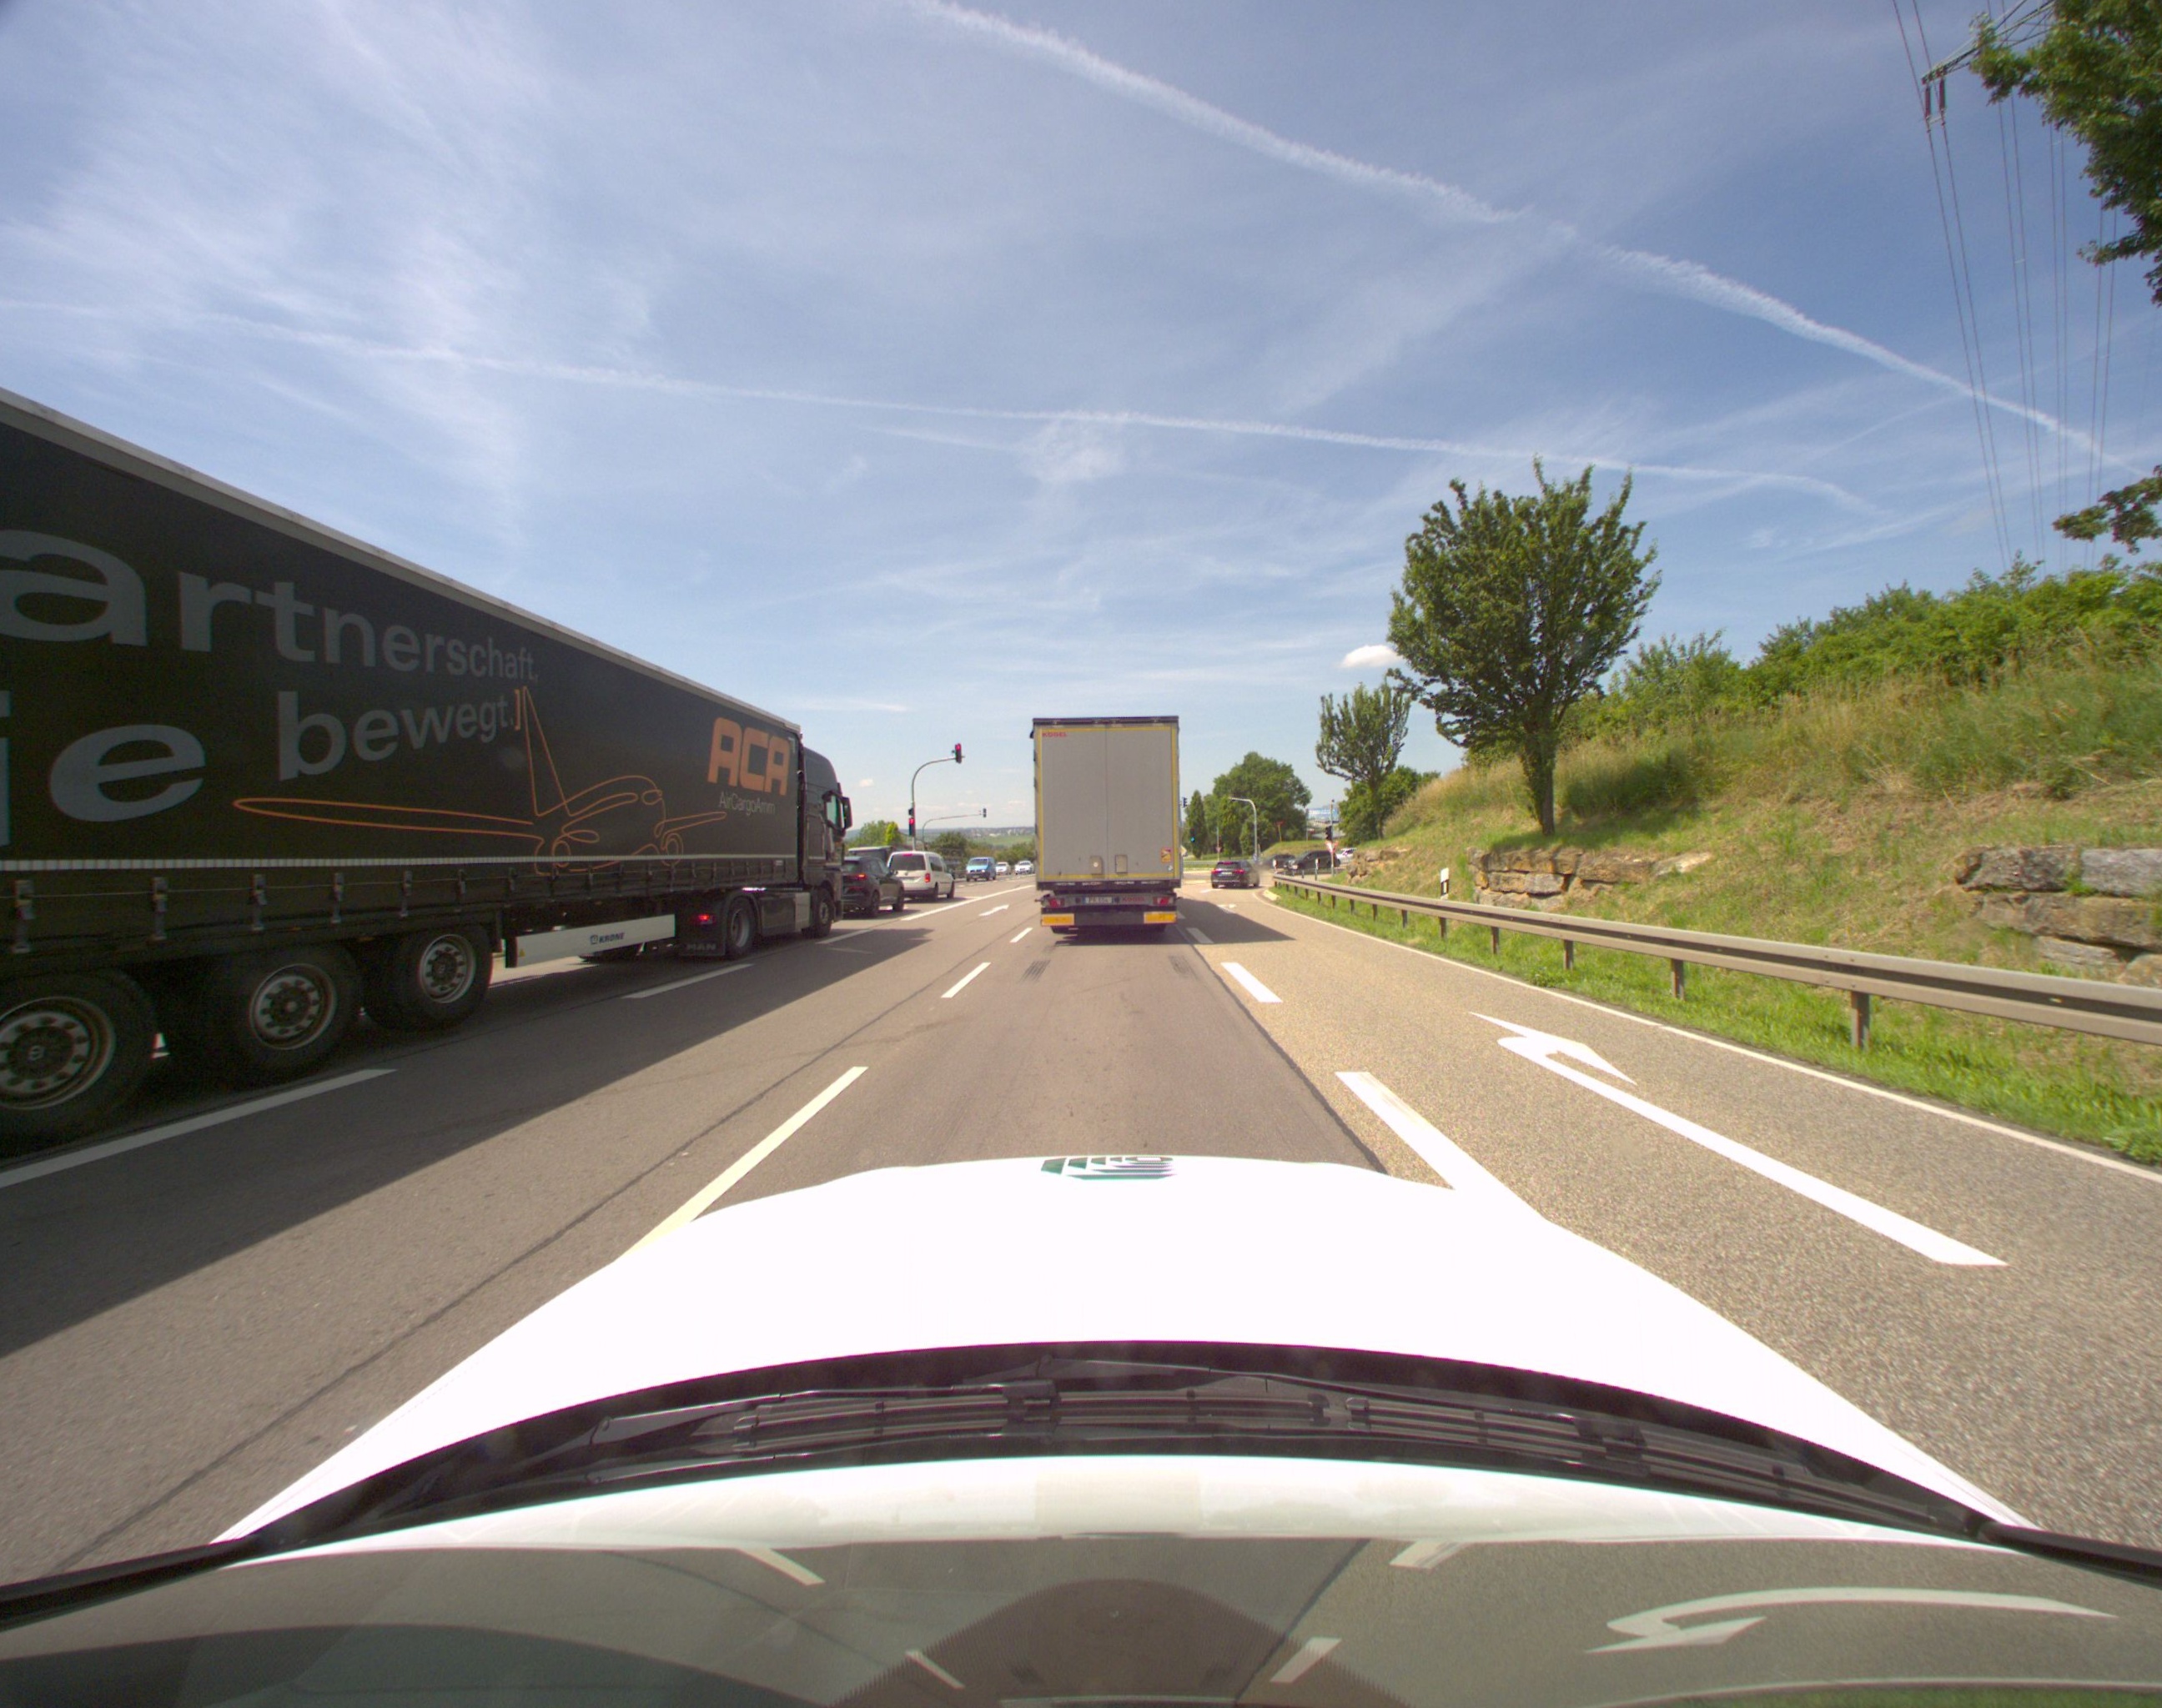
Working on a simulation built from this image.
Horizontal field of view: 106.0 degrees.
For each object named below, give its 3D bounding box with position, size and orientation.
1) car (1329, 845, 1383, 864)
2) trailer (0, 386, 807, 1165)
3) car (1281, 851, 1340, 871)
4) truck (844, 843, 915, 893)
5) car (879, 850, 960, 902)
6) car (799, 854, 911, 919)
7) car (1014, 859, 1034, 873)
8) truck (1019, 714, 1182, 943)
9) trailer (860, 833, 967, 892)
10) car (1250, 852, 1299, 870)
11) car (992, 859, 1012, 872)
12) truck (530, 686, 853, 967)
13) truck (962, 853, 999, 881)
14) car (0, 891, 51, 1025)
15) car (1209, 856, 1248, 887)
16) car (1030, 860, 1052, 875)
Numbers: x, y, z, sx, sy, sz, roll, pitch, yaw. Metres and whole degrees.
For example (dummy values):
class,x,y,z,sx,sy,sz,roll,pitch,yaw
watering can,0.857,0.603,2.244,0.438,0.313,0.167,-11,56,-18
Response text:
class,x,y,z,sx,sy,sz,roll,pitch,yaw
car,25.206,0.056,74.788,4.353,1.592,1.776,-1,-1,-7
trailer,-6.670,-0.357,8.109,2.772,3.913,13.792,-1,0,2
car,18.837,0.559,66.942,4.357,1.510,1.711,-1,-1,-9
truck,-13.125,0.931,53.584,2.787,3.014,5.994,-2,-1,3
car,-6.024,0.773,30.913,1.759,1.798,4.757,-1,0,4
car,-6.238,0.836,23.051,1.849,1.657,4.349,-1,0,1
car,-6.436,1.388,92.264,1.765,1.434,4.003,-2,-1,3
truck,0.488,-0.392,19.748,2.789,3.930,11.344,0,-1,1
trailer,-12.376,0.710,63.296,2.627,3.763,19.822,-2,-1,5
car,17.377,0.640,73.188,3.982,1.510,1.712,-1,-1,-7
car,-9.305,1.358,96.233,1.636,1.497,3.806,-3,-1,5
truck,-6.437,-0.378,14.680,2.772,4.013,5.973,-1,-1,2
truck,-8.312,1.064,67.757,1.956,2.157,4.631,-2,-1,6
car,-12.682,1.179,7.129,1.730,1.443,4.324,-4,-1,0
car,7.589,0.884,41.731,1.734,1.532,4.313,-1,-1,13
car,-4.140,1.404,85.130,1.747,1.469,4.200,2,-1,4
